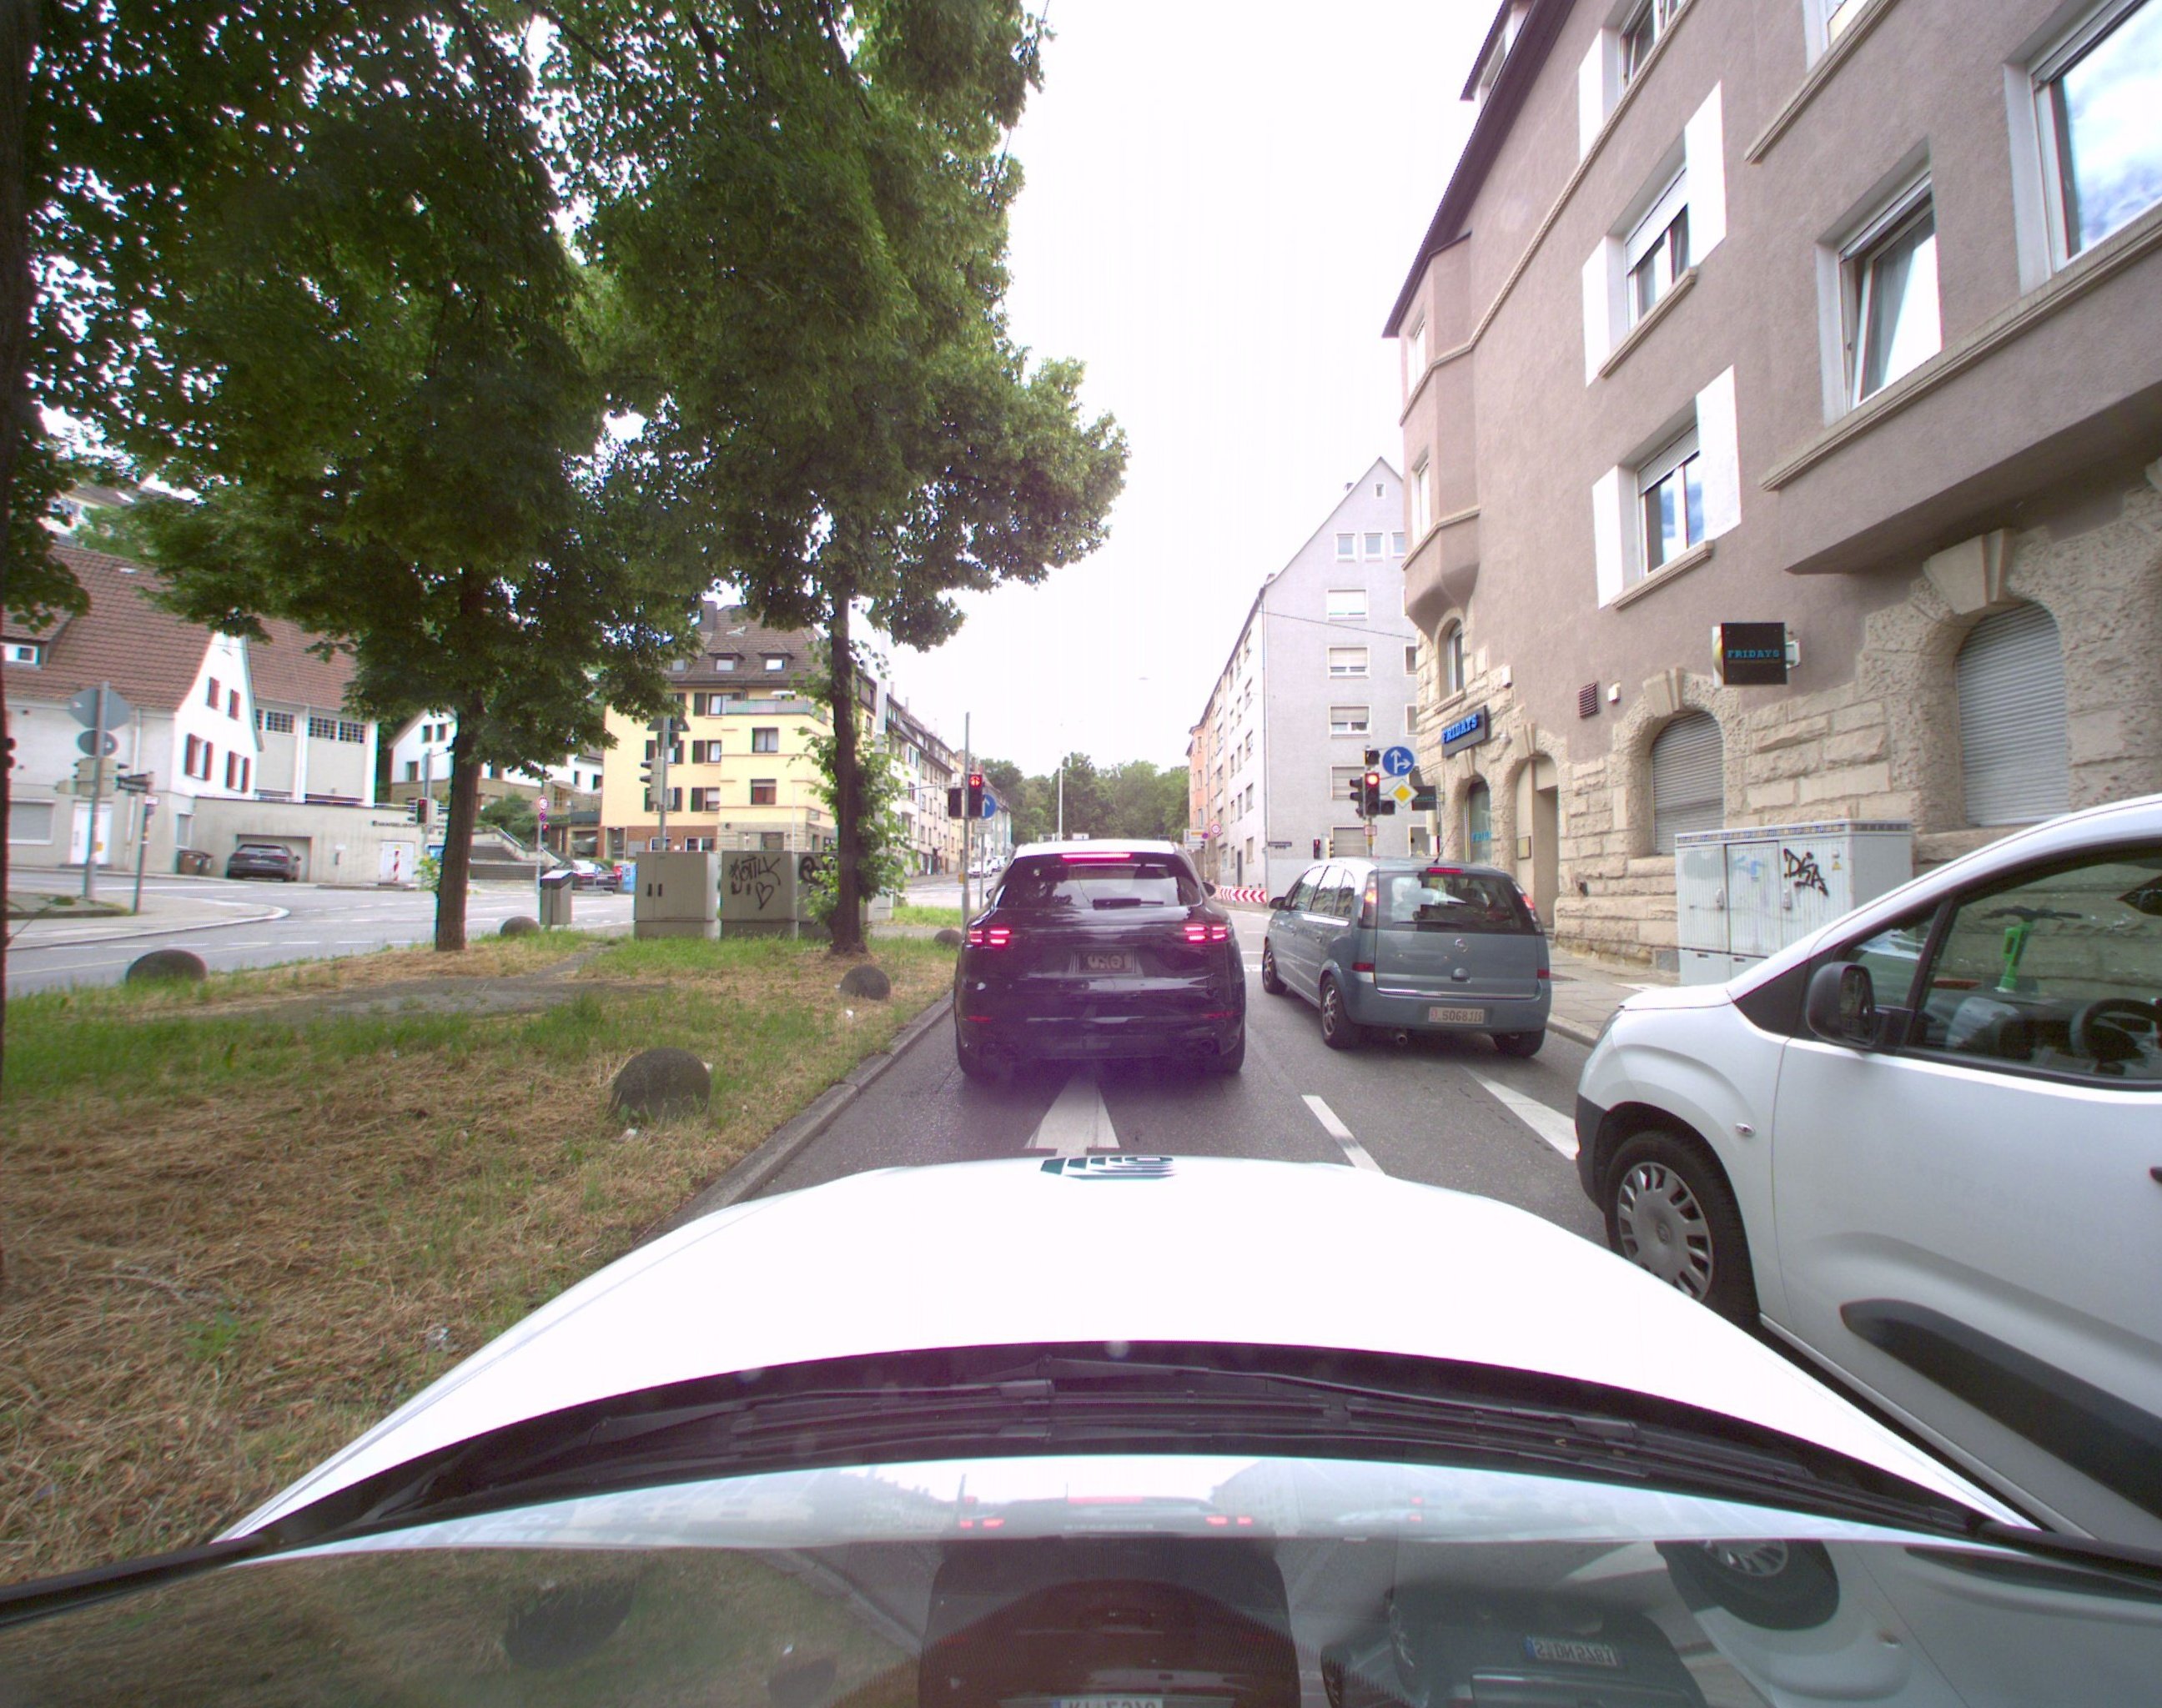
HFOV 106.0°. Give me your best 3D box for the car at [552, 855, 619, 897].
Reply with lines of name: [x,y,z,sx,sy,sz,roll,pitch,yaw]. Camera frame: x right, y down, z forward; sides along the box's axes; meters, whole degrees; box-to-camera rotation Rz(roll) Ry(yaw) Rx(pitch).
car: [-23.616,1.011,38.813,3.477,1.596,1.881,7,4,44]

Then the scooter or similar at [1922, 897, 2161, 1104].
scooter or similar: [6.447,0.867,5.302,0.524,1.104,1.424,-1,-1,4]

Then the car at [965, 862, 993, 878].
car: [-9.442,1.466,75.541,1.836,1.486,3.901,0,0,3]

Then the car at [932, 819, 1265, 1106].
car: [0.163,0.662,6.843,1.948,1.674,4.001,-1,-1,2]

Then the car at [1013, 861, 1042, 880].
car: [-4.114,1.279,63.251,1.854,1.388,4.096,0,0,2]

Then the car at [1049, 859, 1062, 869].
car: [-3.982,1.608,128.973,1.611,1.480,3.828,-1,-2,5]

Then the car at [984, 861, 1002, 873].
car: [-10.751,1.550,99.614,1.732,1.387,3.815,0,0,2]

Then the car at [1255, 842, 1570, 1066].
car: [2.870,0.757,7.924,1.622,1.598,3.670,3,0,2]

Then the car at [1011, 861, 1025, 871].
car: [-9.656,1.855,125.397,1.682,1.538,3.815,0,-1,2]

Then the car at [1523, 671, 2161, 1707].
car: [2.823,0.614,1.022,1.969,1.775,4.676,3,0,0]

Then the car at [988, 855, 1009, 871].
car: [-10.669,1.192,105.147,2.008,2.045,4.669,0,-1,2]

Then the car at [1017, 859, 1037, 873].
car: [-6.455,1.417,97.718,1.966,1.610,4.560,0,0,2]

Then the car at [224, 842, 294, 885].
car: [-32.155,0.359,31.841,3.019,1.405,1.681,2,-4,42]
